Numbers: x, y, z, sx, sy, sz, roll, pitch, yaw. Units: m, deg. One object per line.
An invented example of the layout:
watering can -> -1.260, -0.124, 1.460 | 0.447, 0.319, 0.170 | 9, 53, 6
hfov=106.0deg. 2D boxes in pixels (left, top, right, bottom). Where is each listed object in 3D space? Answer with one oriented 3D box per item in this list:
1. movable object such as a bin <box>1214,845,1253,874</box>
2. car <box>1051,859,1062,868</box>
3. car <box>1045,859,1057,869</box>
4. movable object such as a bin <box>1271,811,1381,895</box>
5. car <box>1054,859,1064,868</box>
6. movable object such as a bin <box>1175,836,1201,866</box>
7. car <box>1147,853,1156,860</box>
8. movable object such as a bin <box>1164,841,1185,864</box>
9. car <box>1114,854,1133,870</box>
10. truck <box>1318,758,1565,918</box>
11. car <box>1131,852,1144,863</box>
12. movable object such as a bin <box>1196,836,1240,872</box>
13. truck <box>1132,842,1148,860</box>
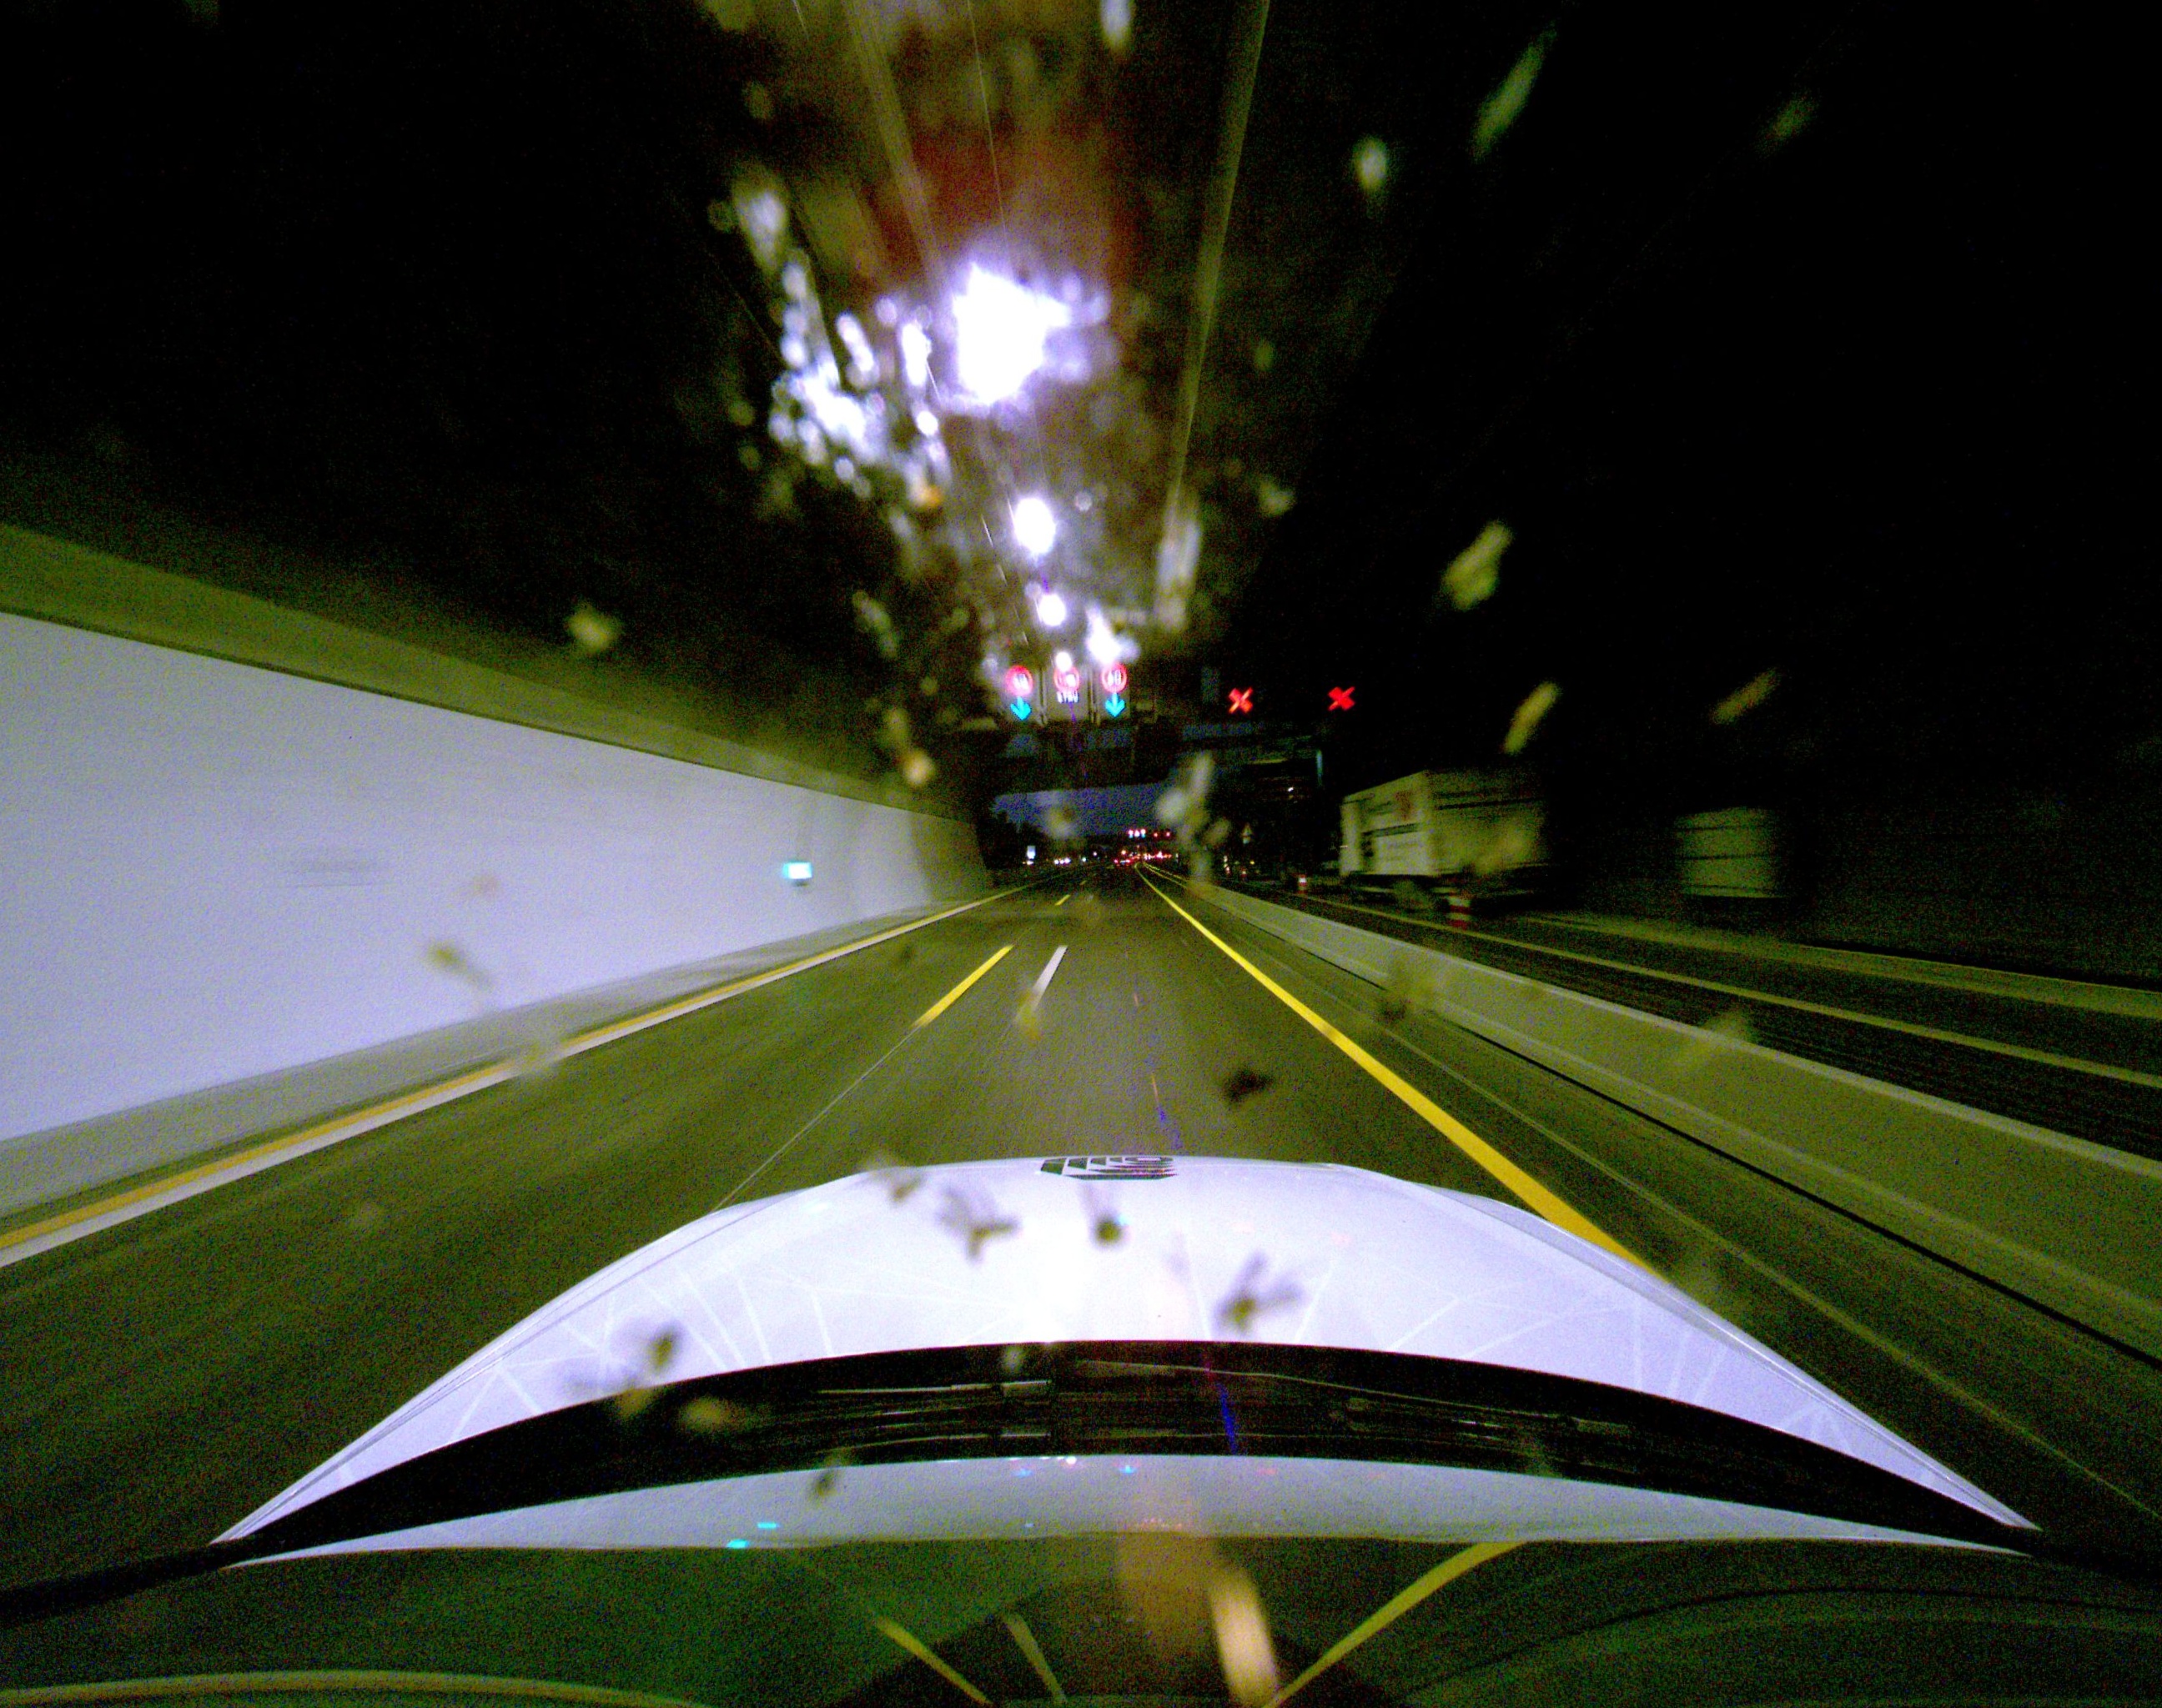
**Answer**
movable object such as a bin -> 10.084, 0.347, 54.141 | 1.971, 1.816, 3.838 | -1, 0, 2
car -> -5.179, 2.004, 172.045 | 1.986, 2.014, 4.002 | -1, 0, 2
car -> -5.957, 1.946, 161.961 | 1.986, 2.014, 4.002 | -1, 0, 2
movable object such as a bin -> 9.130, 0.002, 31.176 | 2.229, 2.794, 7.236 | -1, 0, 2
car -> -4.837, 2.049, 178.965 | 1.986, 2.014, 4.002 | -1, 0, 2
movable object such as a bin -> 13.918, -0.390, 106.185 | 2.726, 3.679, 6.338 | -1, -1, 3
car -> 18.542, 0.642, 214.289 | 1.985, 2.013, 4.003 | -1, 0, 3
movable object such as a bin -> 14.316, -0.228, 125.241 | 2.726, 3.455, 6.952 | -1, 0, 3
car -> 4.573, 0.845, 88.085 | 1.880, 1.607, 4.002 | -1, 0, 2
truck -> 8.718, -0.302, 21.139 | 2.881, 3.272, 8.404 | -1, 0, 2
car -> 10.387, 0.608, 149.197 | 1.983, 2.013, 4.008 | -1, 0, 7
movable object such as a bin -> 11.149, -0.002, 66.829 | 2.726, 2.754, 7.055 | -1, 0, 3
truck -> 17.601, -0.900, 242.896 | 4.527, 4.987, 9.606 | -1, 0, 3
